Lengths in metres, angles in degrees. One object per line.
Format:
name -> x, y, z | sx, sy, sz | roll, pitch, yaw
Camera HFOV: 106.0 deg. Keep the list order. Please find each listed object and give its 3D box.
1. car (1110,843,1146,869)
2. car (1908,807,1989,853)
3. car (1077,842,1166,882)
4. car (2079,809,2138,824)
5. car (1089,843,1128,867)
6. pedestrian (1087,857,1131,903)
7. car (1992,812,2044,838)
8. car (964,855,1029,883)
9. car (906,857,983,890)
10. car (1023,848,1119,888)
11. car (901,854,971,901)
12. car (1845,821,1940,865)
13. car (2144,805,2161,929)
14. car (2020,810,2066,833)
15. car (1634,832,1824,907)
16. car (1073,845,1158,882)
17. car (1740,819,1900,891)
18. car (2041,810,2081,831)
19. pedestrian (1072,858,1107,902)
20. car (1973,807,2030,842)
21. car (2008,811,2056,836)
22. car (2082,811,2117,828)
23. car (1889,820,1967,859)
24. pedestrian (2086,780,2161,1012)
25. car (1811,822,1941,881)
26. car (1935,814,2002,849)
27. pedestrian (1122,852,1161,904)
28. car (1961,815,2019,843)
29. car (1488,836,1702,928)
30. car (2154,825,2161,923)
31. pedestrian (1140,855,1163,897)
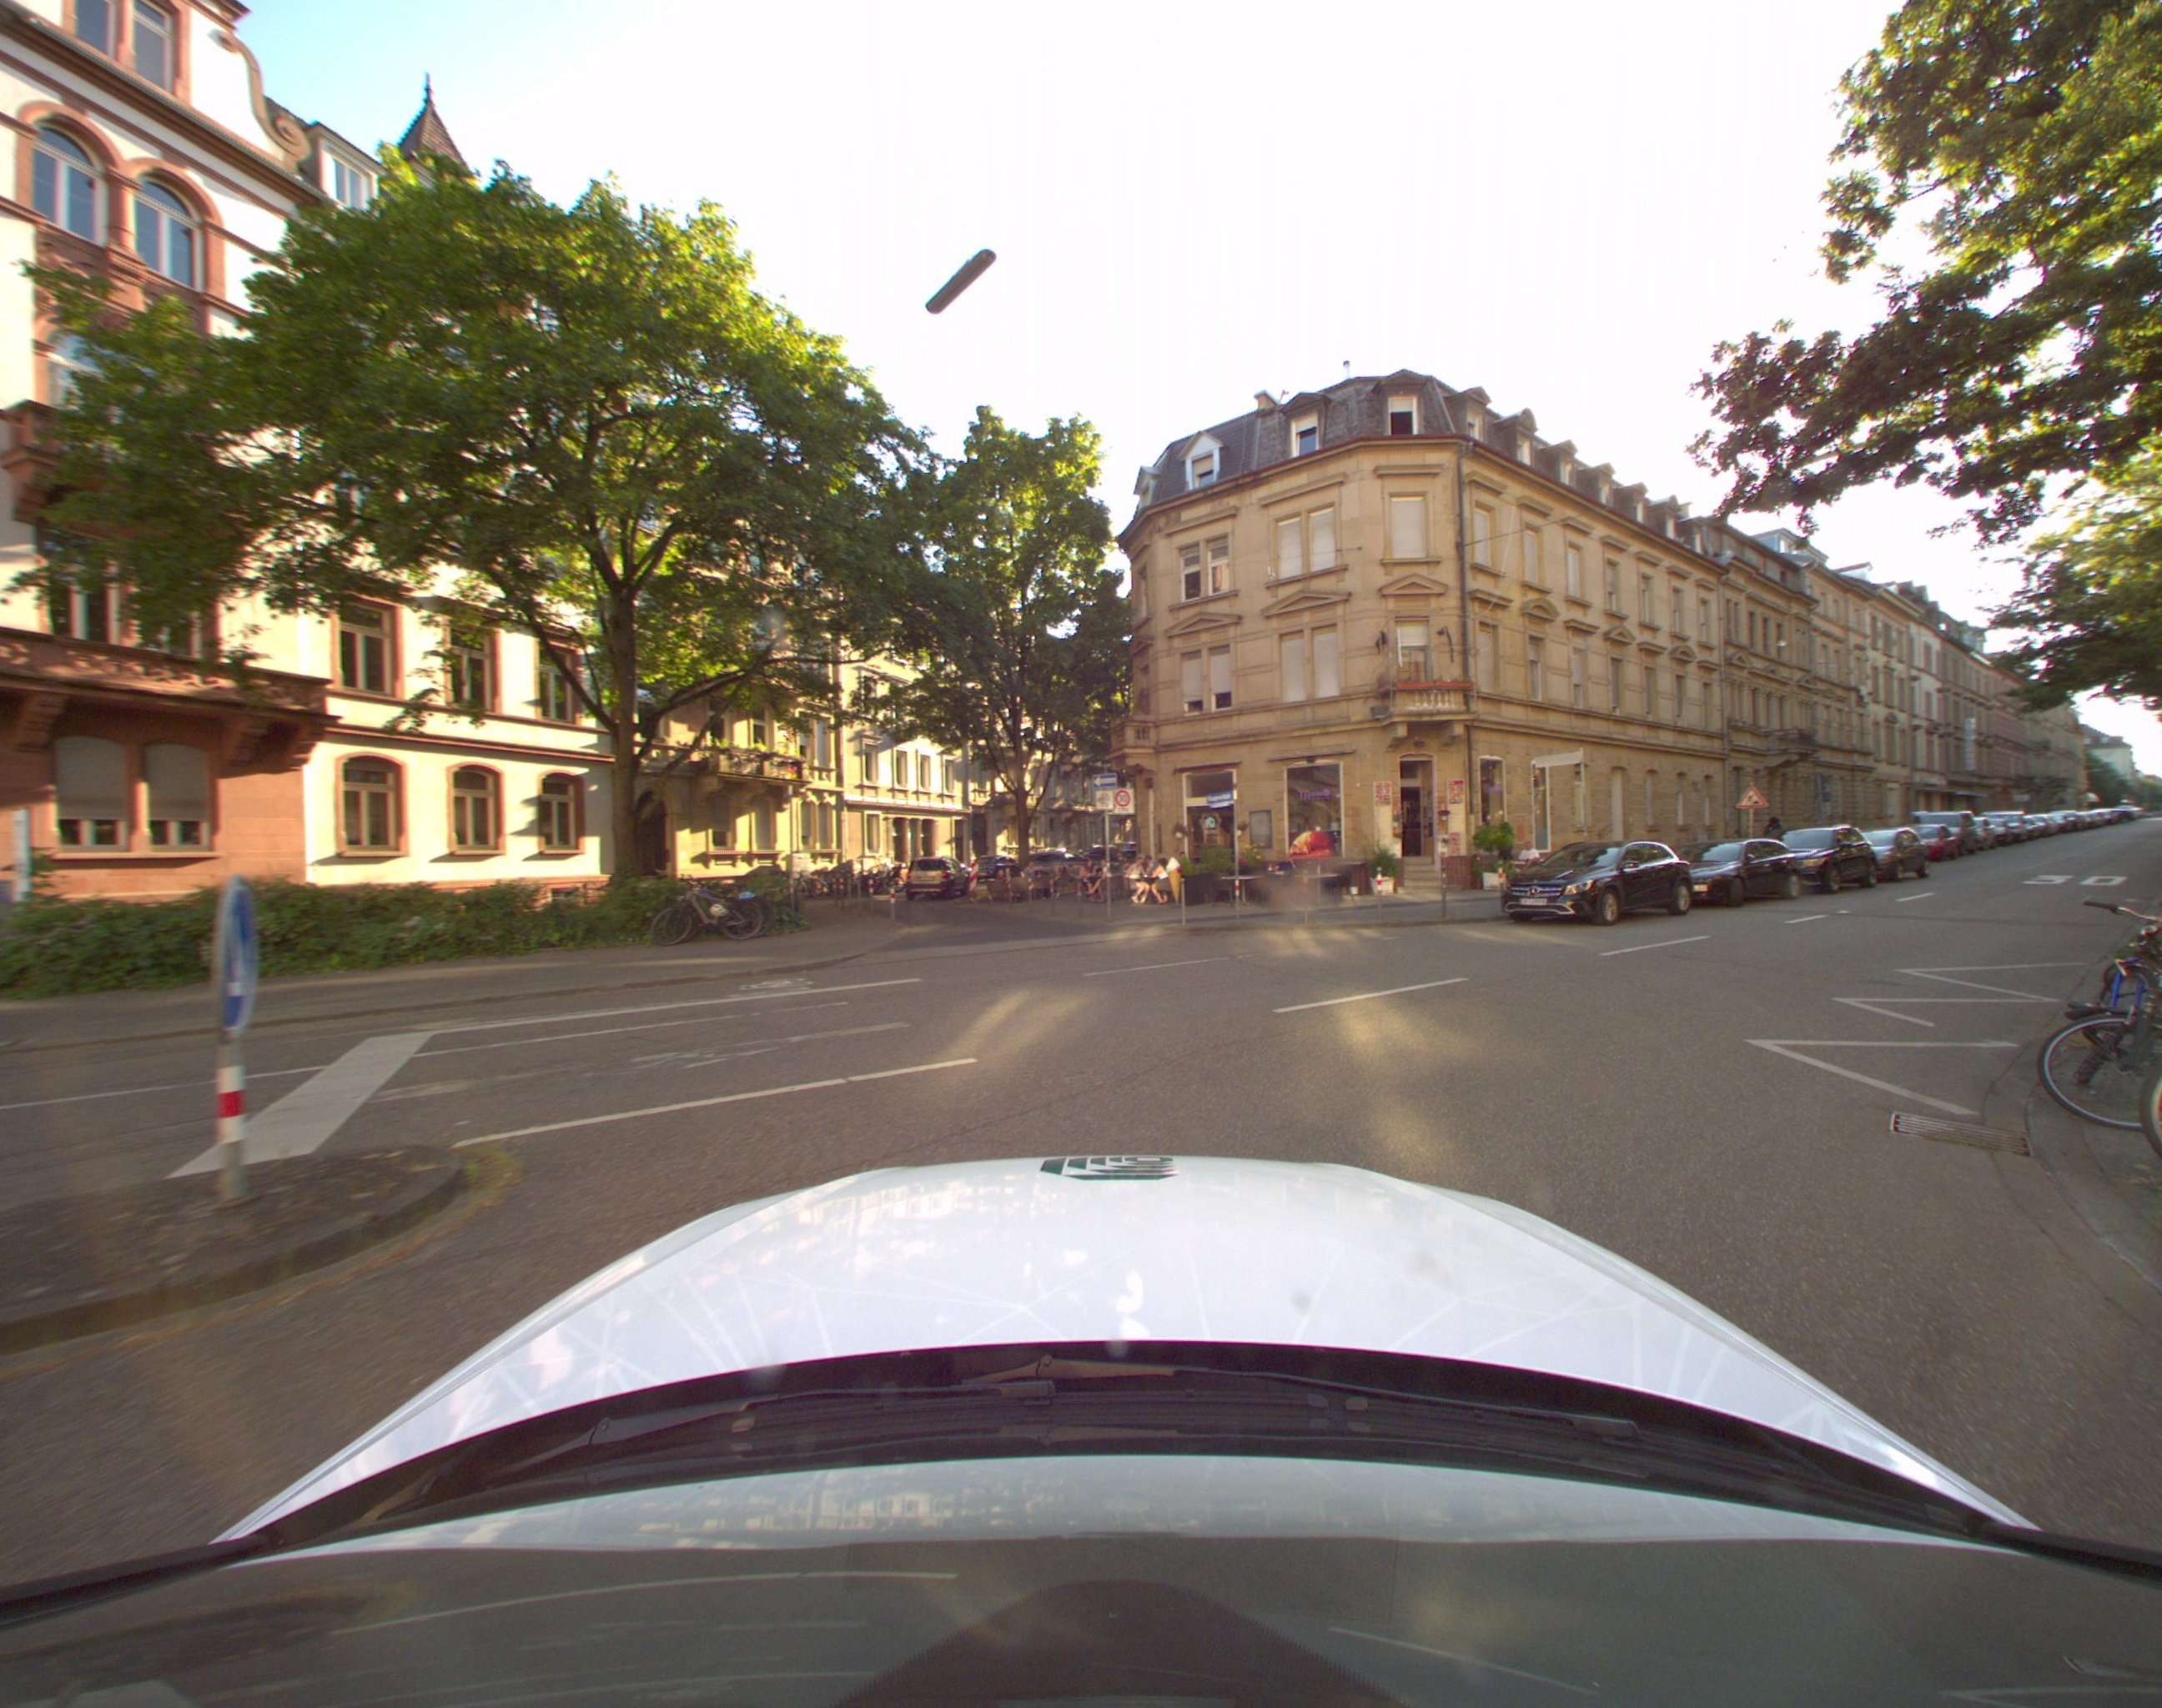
car -> 3.918, 0.133, 67.119 | 1.791, 2.085, 3.771 | -2, 0, 21
car -> 39.632, -1.140, 37.163 | 5.283, 1.943, 1.818 | -3, 2, -35
car -> 1.918, 0.380, 38.106 | 3.969, 1.684, 2.002 | -2, 0, 4
car -> 111.050, -4.051, 88.023 | 3.977, 1.486, 1.998 | -1, -1, -3
car -> 2.121, 0.069, 62.113 | 1.791, 1.684, 3.771 | -2, 0, 21
pedestrian -> 0.805, 0.748, 23.626 | 0.753, 1.248, 1.013 | -3, 0, -37
car -> 57.864, -1.798, 50.288 | 4.078, 1.473, 1.744 | -3, 0, -37
car -> -4.491, 0.789, 43.774 | 1.906, 1.376, 3.771 | -2, 0, 21
car -> -6.471, 0.898, 38.884 | 1.906, 1.376, 3.771 | -2, 0, 21
car -> -0.456, 0.580, 34.984 | 3.824, 1.562, 1.797 | -2, 0, -11
car -> -5.665, 0.875, 32.246 | 1.987, 1.684, 4.000 | -2, 0, 0
car -> 31.279, -0.446, 31.368 | 4.075, 1.501, 1.746 | -3, -1, -33
car -> 16.568, 0.050, 9.641 | 1.858, 1.679, 4.653 | -2, -2, -33
car -> 66.885, -2.263, 56.603 | 4.078, 1.473, 1.744 | -3, 0, -37
car -> 14.631, 0.304, 18.340 | 4.564, 1.452, 1.747 | -2, -1, -30
car -> 1.683, 0.452, 40.806 | 3.981, 1.684, 1.996 | -2, 0, -6
car -> 19.024, 0.006, 20.929 | 4.565, 1.600, 1.747 | -3, -1, -31
car -> 75.880, -2.580, 63.034 | 4.078, 1.473, 1.744 | -3, 0, -37
pedestrian -> 0.255, 0.772, 24.338 | 0.753, 1.248, 0.699 | -3, 0, -37
car -> 53.652, -1.746, 47.450 | 4.550, 1.842, 1.744 | -3, 0, -37
car -> 62.870, -2.036, 53.813 | 4.078, 1.473, 1.744 | -3, 0, -37
car -> 102.593, -3.473, 82.029 | 4.017, 1.486, 1.978 | 0, -1, -36
car -> 35.118, -0.625, 33.757 | 3.713, 1.475, 1.581 | -3, 2, -33
pedestrian -> 9.273, 0.328, 6.760 | 0.846, 1.898, 1.105 | -2, 0, -37
car -> 23.175, -0.089, 23.710 | 4.074, 1.501, 1.746 | -3, -1, -32
car -> 44.410, -1.154, 40.725 | 4.402, 1.608, 1.740 | -3, 2, -35
pedestrian -> 1.683, 0.665, 22.739 | 0.747, 1.411, 0.732 | -2, 0, 43
car -> 49.810, -1.386, 44.603 | 4.018, 1.467, 1.745 | -3, 2, -37
car -> 9.928, 0.478, 15.668 | 4.152, 1.488, 1.747 | -2, -1, -31
car -> 14.653, 0.243, 8.023 | 1.858, 1.413, 4.751 | -2, -2, -32
pedestrian -> 2.144, 0.655, 24.860 | 0.436, 1.248, 0.477 | -3, 0, -37
